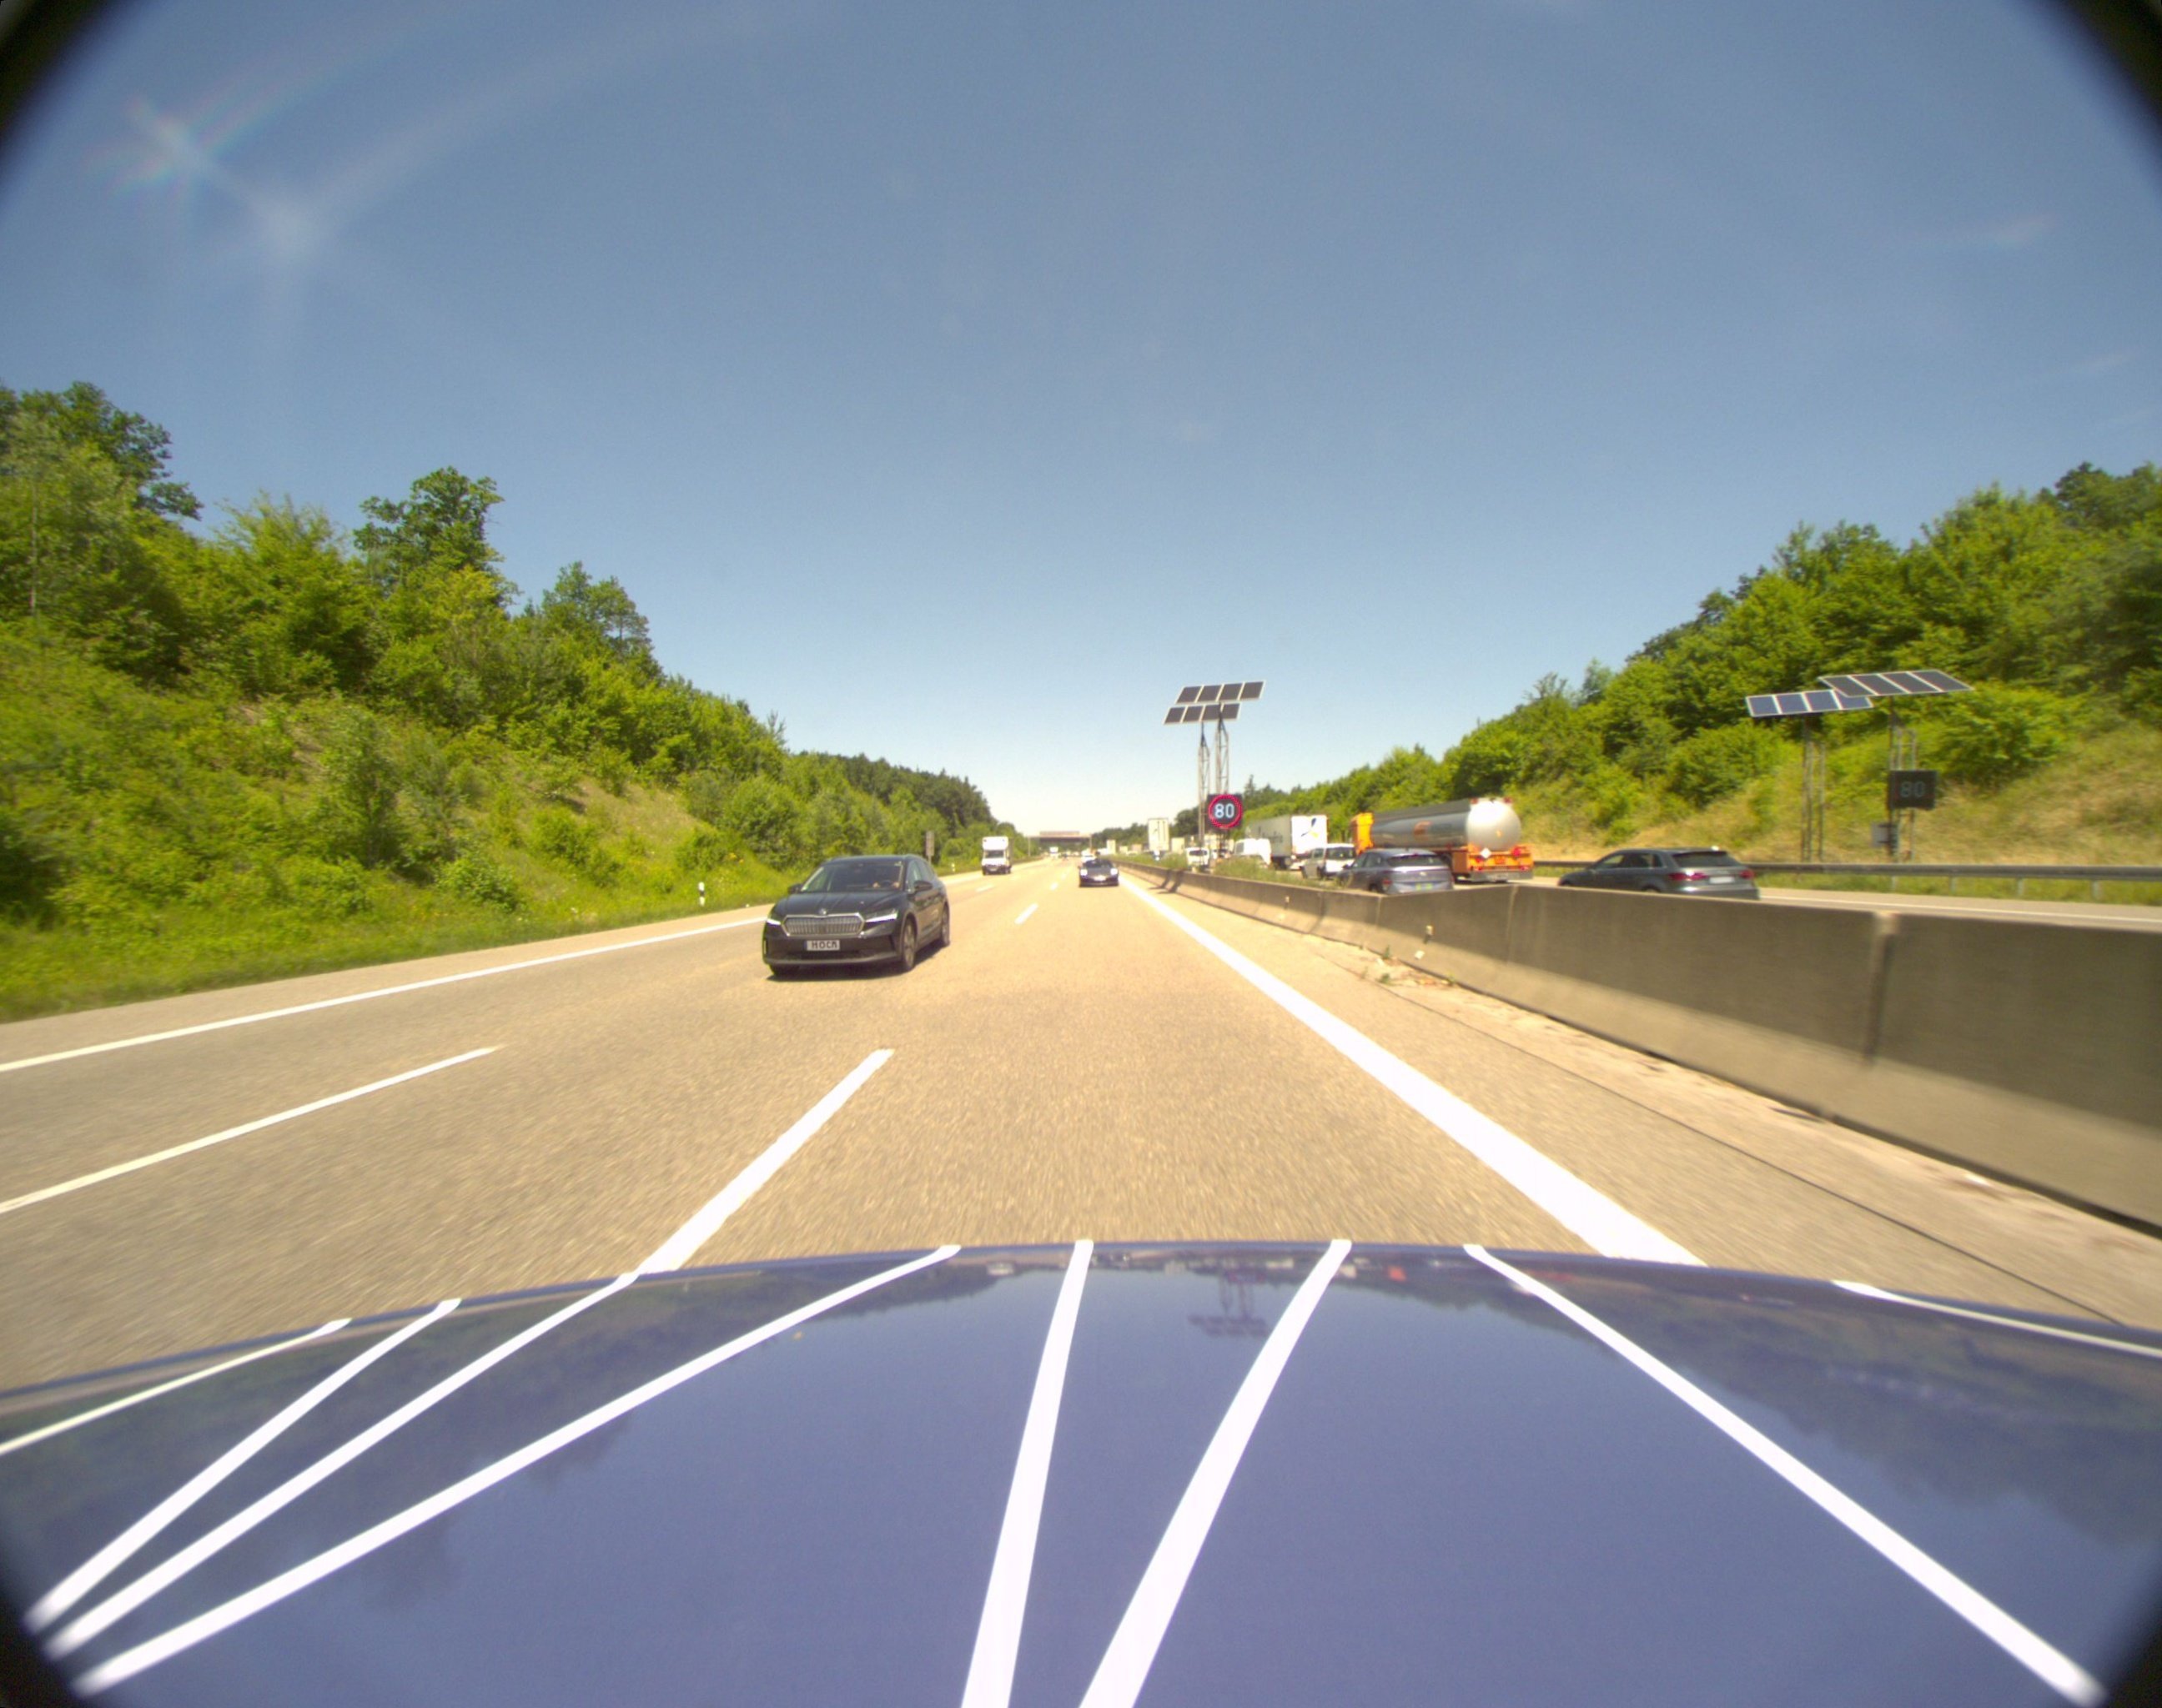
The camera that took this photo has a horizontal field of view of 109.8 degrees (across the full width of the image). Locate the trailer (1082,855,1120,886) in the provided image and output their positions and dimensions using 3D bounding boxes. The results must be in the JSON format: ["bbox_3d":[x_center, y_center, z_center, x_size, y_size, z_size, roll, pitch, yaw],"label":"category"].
[{"bbox_3d":[0.999,0.759,36.386,1.689,1.399,3.046,-1,0,3],"label":"trailer"}]

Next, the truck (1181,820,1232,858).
[{"bbox_3d":[16.500,-1.977,101.943,3.706,4.431,19.448,-2,1,1],"label":"truck"}]

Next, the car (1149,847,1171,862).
[{"bbox_3d":[8.812,0.046,85.618,1.831,1.469,4.970,-2,1,-1],"label":"car"}]

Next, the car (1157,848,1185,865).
[{"bbox_3d":[8.637,0.206,73.301,1.831,1.469,5.397,-2,1,-1],"label":"car"}]

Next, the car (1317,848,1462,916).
[{"bbox_3d":[8.001,0.646,20.268,1.832,1.488,4.758,-2,1,-1],"label":"car"}]

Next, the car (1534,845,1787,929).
[{"bbox_3d":[12.274,0.593,16.602,1.832,1.488,4.758,-2,1,-1],"label":"car"}]

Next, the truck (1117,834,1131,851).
[{"bbox_3d":[14.929,-4.069,264.891,3.706,5.470,19.448,-2,1,1],"label":"truck"}]

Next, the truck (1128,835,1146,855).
[{"bbox_3d":[16.080,-2.651,220.162,3.706,5.470,19.448,-2,1,1],"label":"truck"}]

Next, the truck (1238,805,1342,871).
[{"bbox_3d":[16.452,-1.286,61.937,3.706,4.431,17.378,-2,1,1],"label":"truck"}]

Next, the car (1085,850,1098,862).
[{"bbox_3d":[1.429,0.240,101.474,1.718,1.432,4.456,-1,1,1],"label":"car"}]

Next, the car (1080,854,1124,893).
[{"bbox_3d":[0.969,0.804,33.029,1.718,1.432,4.457,-2,1,3],"label":"car"}]

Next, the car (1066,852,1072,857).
[{"bbox_3d":[-3.526,0.145,222.895,1.719,1.432,4.015,-2,1,-1],"label":"car"}]

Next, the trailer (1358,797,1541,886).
[{"bbox_3d":[16.141,-0.502,34.742,2.584,3.275,11.694,-2,0,0],"label":"trailer"}]

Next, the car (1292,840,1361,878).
[{"bbox_3d":[12.390,0.196,38.639,1.832,1.753,4.757,-2,1,-1],"label":"car"}]

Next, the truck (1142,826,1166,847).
[{"bbox_3d":[16.478,-3.982,172.945,3.706,4.431,19.448,-2,1,1],"label":"truck"}]

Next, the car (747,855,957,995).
[{"bbox_3d":[-3.220,0.886,11.737,1.990,1.610,4.455,-2,1,-2],"label":"car"}]

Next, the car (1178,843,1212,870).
[{"bbox_3d":[9.029,0.132,60.660,1.831,1.966,5.664,-2,1,0],"label":"car"}]

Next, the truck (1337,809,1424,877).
[{"bbox_3d":[16.064,-0.557,41.115,2.500,3.345,5.186,-2,0,-1],"label":"truck"}]

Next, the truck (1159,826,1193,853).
[{"bbox_3d":[16.901,-2.609,136.620,3.706,4.431,19.448,-2,1,1],"label":"truck"}]

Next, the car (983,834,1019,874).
[{"bbox_3d":[-7.046,-0.051,68.013,2.303,3.317,7.621,-2,1,0],"label":"car"}]

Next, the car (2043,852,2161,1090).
[{"bbox_3d":[7.856,0.766,3.089,1.832,1.488,4.758,-2,1,-1],"label":"car"}]

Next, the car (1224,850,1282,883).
[{"bbox_3d":[8.934,0.612,39.834,1.832,1.488,4.758,-2,1,-1],"label":"car"}]

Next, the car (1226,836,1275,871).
[{"bbox_3d":[12.630,-0.115,57.095,2.190,2.371,6.539,-2,1,0],"label":"car"}]

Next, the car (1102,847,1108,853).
[{"bbox_3d":[7.391,-1.185,230.344,1.674,1.746,4.248,-2,1,0],"label":"car"}]

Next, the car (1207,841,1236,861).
[{"bbox_3d":[14.675,-0.367,79.652,2.189,1.930,5.886,-2,1,3],"label":"car"}]
